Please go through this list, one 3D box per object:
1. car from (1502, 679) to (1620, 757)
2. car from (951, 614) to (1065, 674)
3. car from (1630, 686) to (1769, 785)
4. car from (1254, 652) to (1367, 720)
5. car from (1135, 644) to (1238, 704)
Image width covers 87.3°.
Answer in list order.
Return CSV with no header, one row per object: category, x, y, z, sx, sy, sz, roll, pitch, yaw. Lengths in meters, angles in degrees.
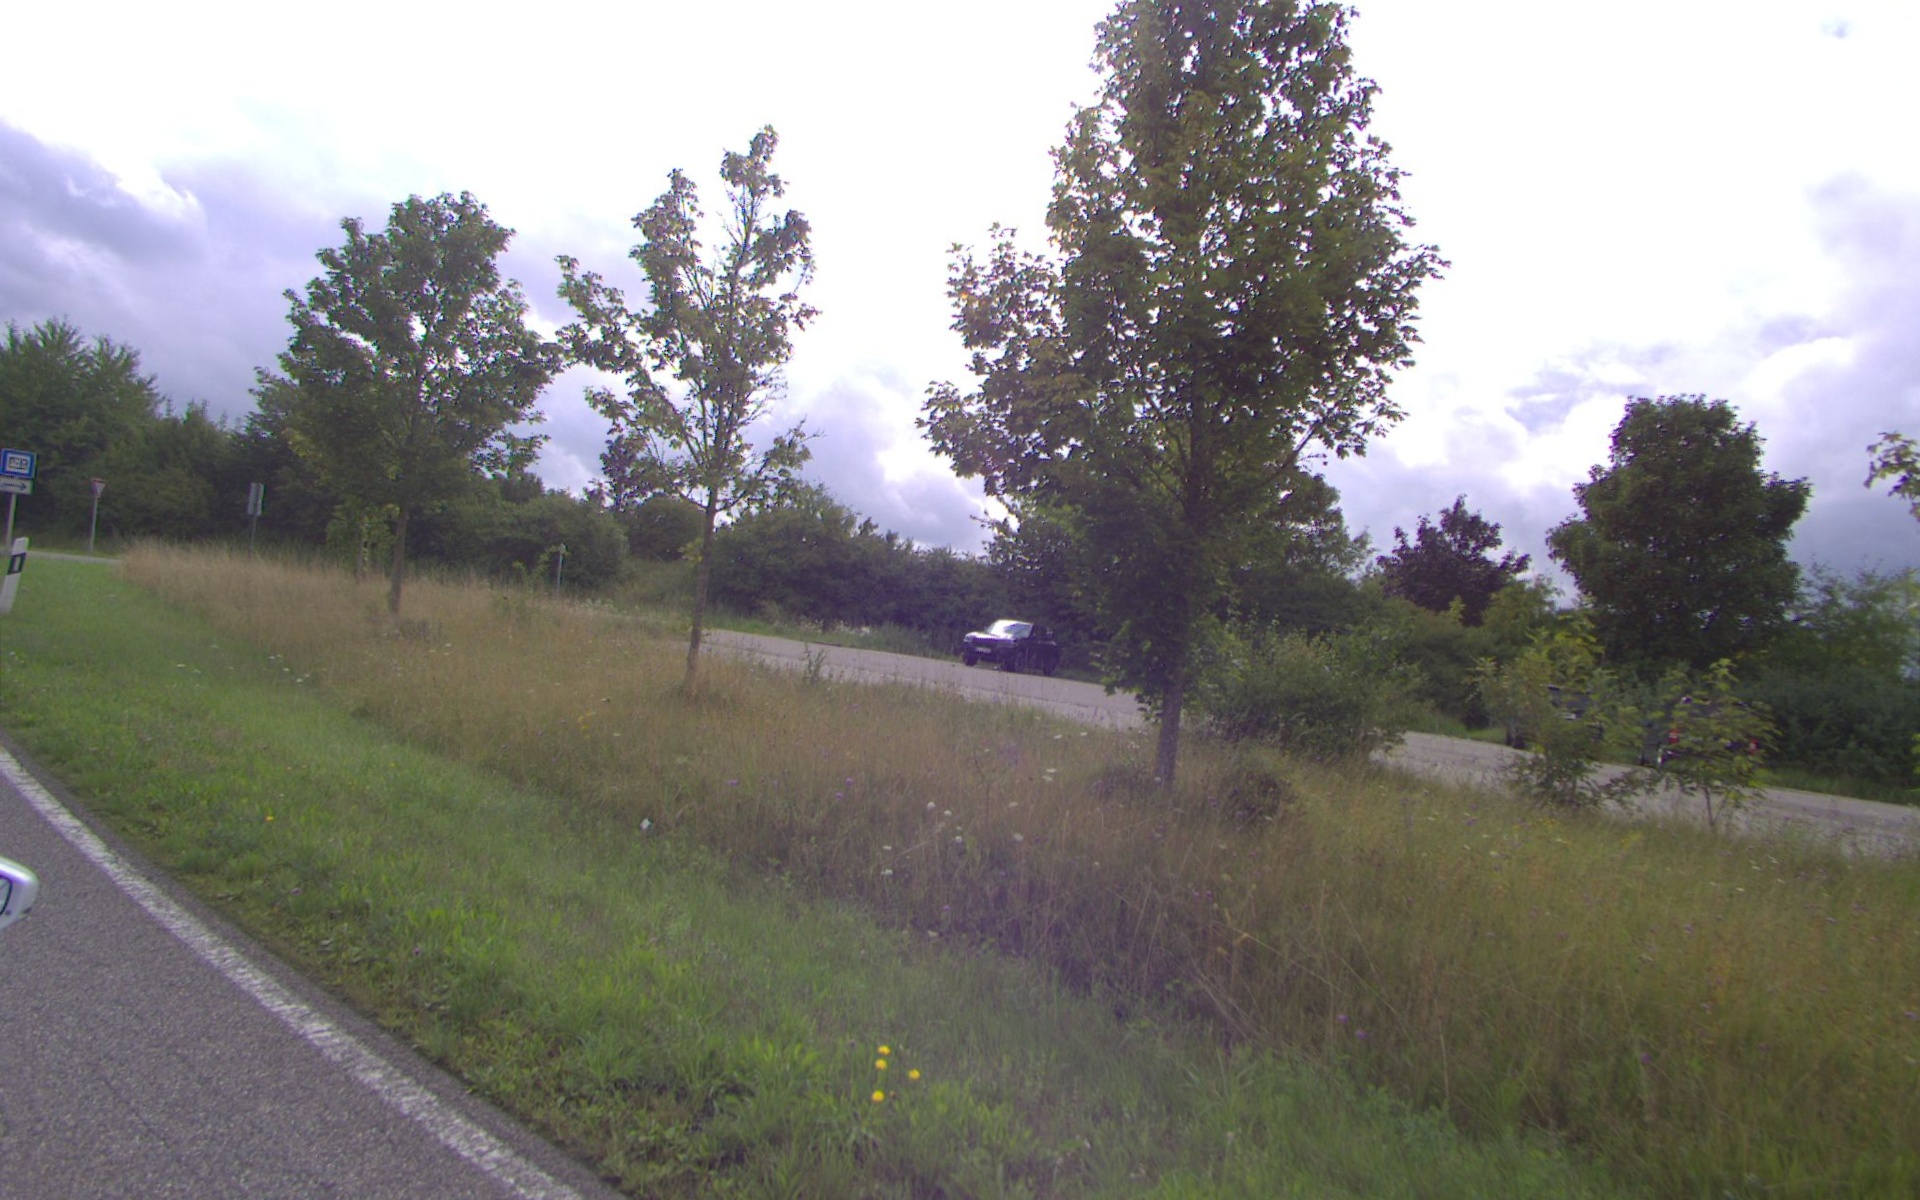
car,14.706,2.823,24.831,1.964,1.515,3.998,6,-1,25
car,1.629,1.456,32.347,1.964,1.600,4.490,6,-1,25
car,17.303,3.083,23.748,1.966,1.882,3.994,6,-1,29
car,9.786,2.377,27.922,2.018,1.523,4.002,6,-1,32
car,6.716,2.167,29.510,1.964,1.431,4.163,6,-1,25
